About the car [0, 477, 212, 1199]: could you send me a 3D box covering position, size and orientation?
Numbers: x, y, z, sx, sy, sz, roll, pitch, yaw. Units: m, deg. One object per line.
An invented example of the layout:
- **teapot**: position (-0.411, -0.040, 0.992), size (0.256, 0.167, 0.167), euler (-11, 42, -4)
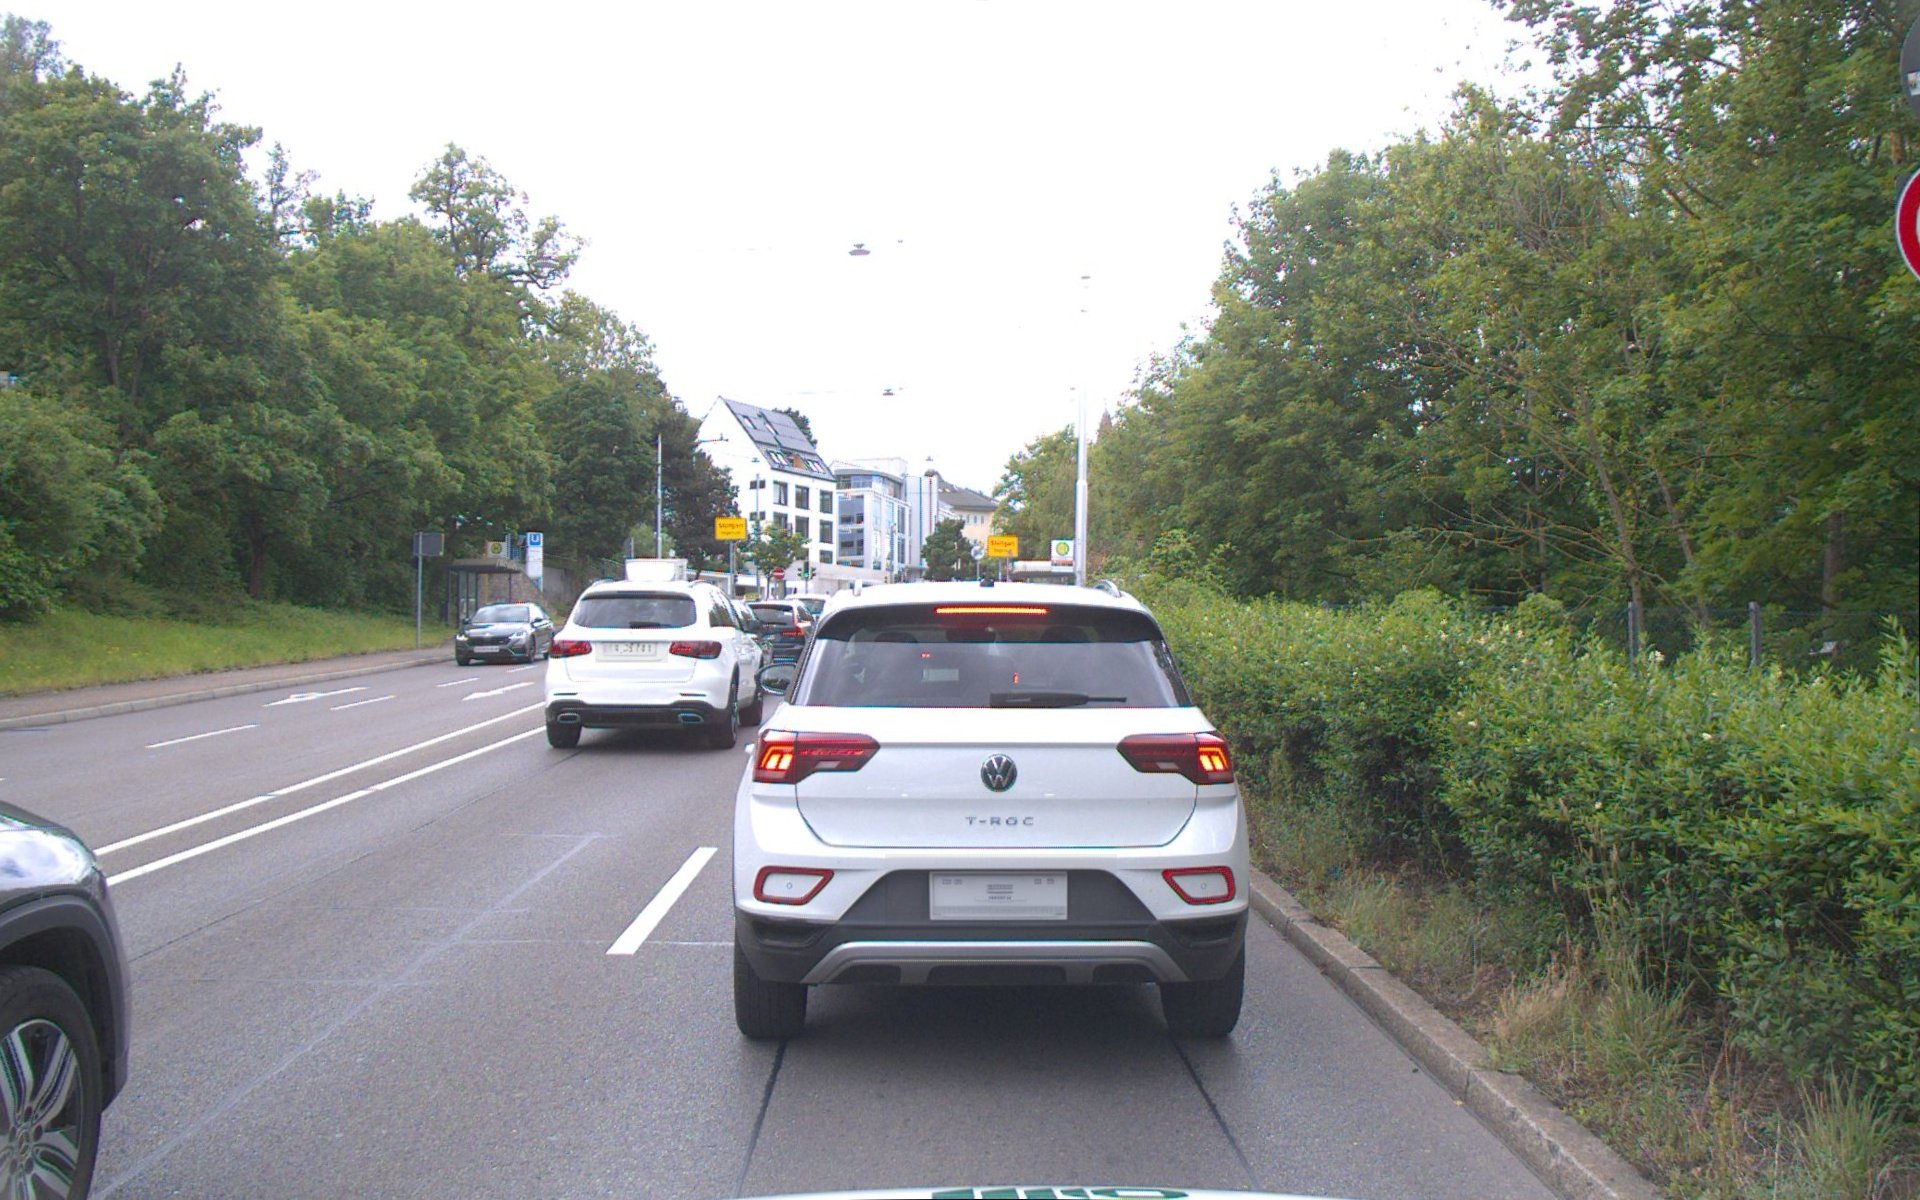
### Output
- **car**: position (-2.627, 0.612, 1.770), size (1.812, 1.680, 4.355), euler (0, 0, -2)

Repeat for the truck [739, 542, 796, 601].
- **truck**: position (-9.344, -1.362, 80.653), size (2.315, 2.754, 4.476), euler (-1, 0, -2)

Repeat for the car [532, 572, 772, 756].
- **car**: position (-3.102, 0.599, 17.454), size (1.879, 1.698, 3.999), euler (1, 0, -2)

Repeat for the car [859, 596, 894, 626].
- **car**: position (-4.517, 0.558, 89.509), size (1.792, 1.552, 3.999), euler (-1, 0, -2)

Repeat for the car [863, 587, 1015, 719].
- **car**: position (-0.307, 0.626, 21.806), size (1.792, 1.552, 3.999), euler (-1, 0, -2)

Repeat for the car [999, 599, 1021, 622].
- **car**: position (4.816, 1.039, 160.903), size (1.953, 2.049, 3.999), euler (-1, -1, 0)

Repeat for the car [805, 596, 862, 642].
- **car**: position (-4.437, 0.633, 58.260), size (1.792, 1.552, 3.999), euler (-1, 0, -2)

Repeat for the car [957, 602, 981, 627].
- **car**: position (0.760, 1.229, 140.423), size (1.953, 2.049, 3.999), euler (-1, -1, 0)

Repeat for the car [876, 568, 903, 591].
- **car**: position (-4.964, -1.459, 116.713), size (1.792, 1.552, 3.999), euler (-1, 0, -2)

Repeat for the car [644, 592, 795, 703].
- **car**: position (-3.541, 0.656, 25.025), size (1.792, 1.523, 3.999), euler (-1, 0, -2)

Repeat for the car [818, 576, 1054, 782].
- **car**: position (-0.241, 0.597, 14.705), size (1.792, 1.552, 3.999), euler (-1, 0, -2)

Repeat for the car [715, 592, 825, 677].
- **car**: position (-3.696, 0.635, 32.774), size (1.792, 1.552, 3.999), euler (-1, 0, -2)

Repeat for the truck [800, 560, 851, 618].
- **truck**: position (-6.915, -0.566, 85.212), size (2.315, 2.830, 4.476), euler (-1, 0, -2)

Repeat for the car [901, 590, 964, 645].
- **car**: position (-0.858, 0.504, 49.768), size (1.792, 1.552, 3.999), euler (-1, 0, -2)

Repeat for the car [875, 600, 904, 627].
- **car**: position (-4.653, 0.851, 109.346), size (1.778, 1.685, 3.927), euler (-1, 0, -2)

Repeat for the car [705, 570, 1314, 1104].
- **car**: position (0.094, 0.687, 6.865), size (1.792, 1.552, 3.999), euler (0, 0, -2)

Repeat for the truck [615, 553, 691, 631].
- **truck**: position (-13.056, -0.320, 70.860), size (2.247, 3.104, 6.975), euler (-1, 0, -3)

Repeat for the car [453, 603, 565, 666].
- **car**: position (-10.995, 0.809, 40.602), size (1.645, 1.420, 4.359), euler (-1, 0, -2)

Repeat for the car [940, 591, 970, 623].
- **car**: position (-0.344, 0.447, 110.459), size (1.953, 2.049, 3.999), euler (-1, 0, -1)

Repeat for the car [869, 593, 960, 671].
- **car**: position (-0.971, 0.636, 35.168), size (1.792, 1.552, 3.999), euler (-1, 0, -2)

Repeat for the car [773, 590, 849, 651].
- **car**: position (-3.986, 0.537, 44.881), size (1.792, 1.552, 3.999), euler (-1, 0, -2)
